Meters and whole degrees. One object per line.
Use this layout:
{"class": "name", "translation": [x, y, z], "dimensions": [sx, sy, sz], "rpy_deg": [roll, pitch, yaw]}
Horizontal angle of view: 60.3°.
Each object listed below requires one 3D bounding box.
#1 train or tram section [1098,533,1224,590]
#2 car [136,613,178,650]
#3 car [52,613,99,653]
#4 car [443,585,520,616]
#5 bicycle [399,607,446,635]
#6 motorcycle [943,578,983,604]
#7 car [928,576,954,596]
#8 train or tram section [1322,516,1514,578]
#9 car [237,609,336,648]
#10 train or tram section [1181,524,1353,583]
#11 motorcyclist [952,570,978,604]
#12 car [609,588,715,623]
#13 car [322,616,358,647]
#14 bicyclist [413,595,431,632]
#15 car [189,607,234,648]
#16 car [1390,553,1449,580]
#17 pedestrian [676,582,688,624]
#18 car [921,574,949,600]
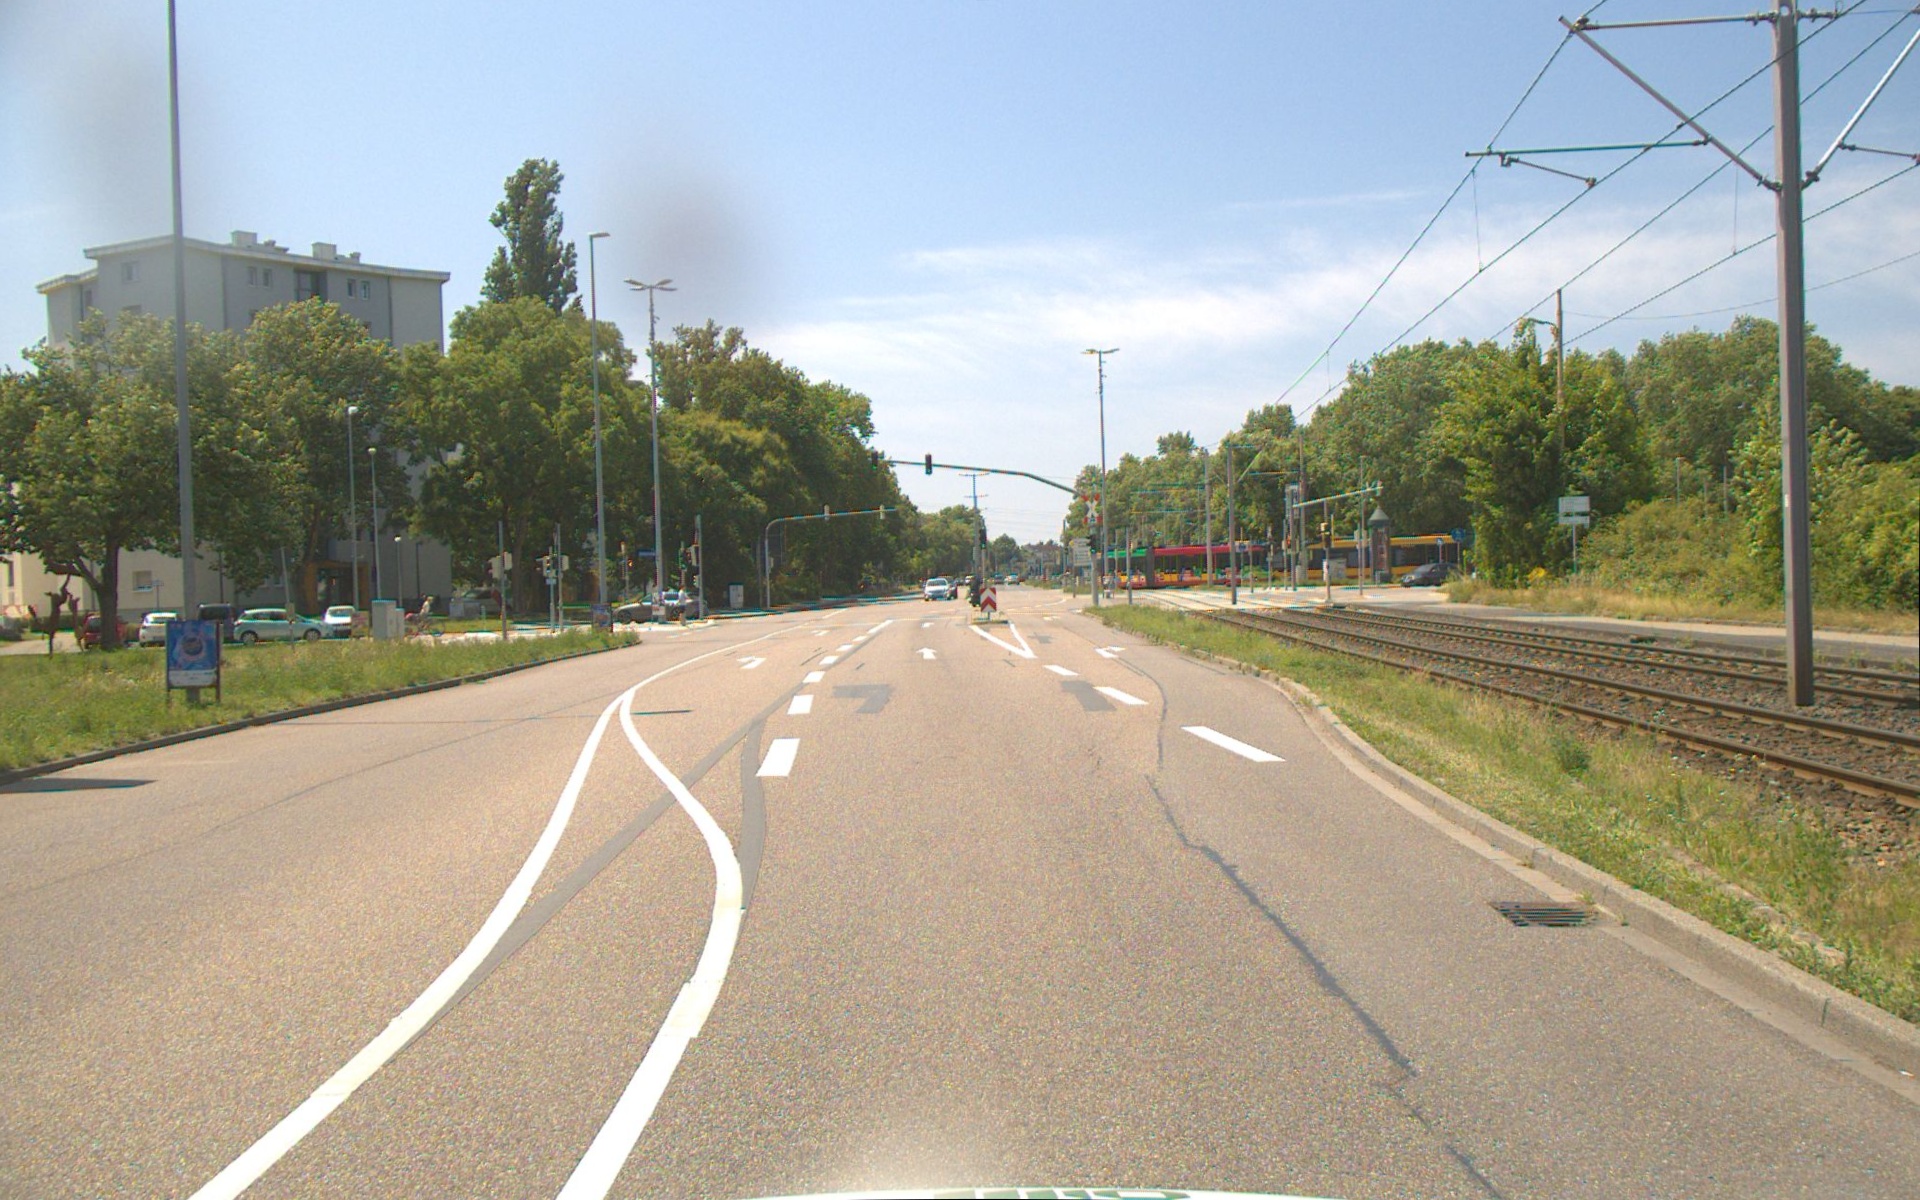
{"class": "train or tram section", "translation": [16.599, -3.122, 137.936], "dimensions": [2.886, 3.879, 12.927], "rpy_deg": [1, -3, -32]}
{"class": "car", "translation": [-37.784, 1.440, 77.858], "dimensions": [1.683, 1.620, 3.968], "rpy_deg": [-1, 1, -25]}
{"class": "car", "translation": [-41.041, 1.497, 76.750], "dimensions": [1.826, 1.697, 3.962], "rpy_deg": [-2, 1, -29]}
{"class": "car", "translation": [-30.779, 0.035, 106.429], "dimensions": [1.759, 1.798, 4.524], "rpy_deg": [-2, 1, 41]}
{"class": "bicycle", "translation": [-22.807, 0.871, 70.235], "dimensions": [1.838, 1.112, 0.642], "rpy_deg": [-2, 1, -22]}
{"class": "motorcycle", "translation": [0.157, -0.451, 81.517], "dimensions": [0.832, 1.277, 2.443], "rpy_deg": [-1, 1, 32]}
{"class": "car", "translation": [-1.360, -1.022, 120.809], "dimensions": [1.675, 1.389, 3.866], "rpy_deg": [-2, 1, 1]}
{"class": "train or tram section", "translation": [34.524, -3.941, 124.890], "dimensions": [13.705, 3.988, 2.924], "rpy_deg": [-2, -2, 19]}
{"class": "car", "translation": [-28.709, 1.210, 70.543], "dimensions": [3.834, 1.494, 1.762], "rpy_deg": [-2, 1, -24]}
{"class": "train or tram section", "translation": [23.976, -3.539, 129.826], "dimensions": [13.172, 3.879, 2.915], "rpy_deg": [-2, -3, 33]}
{"class": "motorcyclist", "translation": [0.243, -0.630, 81.682], "dimensions": [0.775, 1.671, 1.208], "rpy_deg": [-1, 0, 32]}
{"class": "car", "translation": [-14.239, 0.259, 79.117], "dimensions": [4.516, 1.525, 1.914], "rpy_deg": [-2, 1, 12]}
{"class": "car", "translation": [-30.352, 1.510, 81.067], "dimensions": [1.600, 1.404, 3.976], "rpy_deg": [-1, 1, -20]}
{"class": "bicyclist", "translation": [-22.856, 0.571, 70.211], "dimensions": [0.654, 1.563, 0.627], "rpy_deg": [-2, 1, -21]}
{"class": "car", "translation": [-35.618, 1.282, 78.810], "dimensions": [1.680, 1.832, 3.975], "rpy_deg": [-1, 1, -21]}
{"class": "car", "translation": [28.710, -2.090, 103.310], "dimensions": [3.462, 1.488, 1.623], "rpy_deg": [-3, 1, -31]}
{"class": "pedestrian", "translation": [-11.536, 0.134, 68.663], "dimensions": [0.374, 1.716, 0.486], "rpy_deg": [-2, 1, -3]}
{"class": "car", "translation": [-1.713, -0.905, 113.419], "dimensions": [1.747, 1.657, 3.866], "rpy_deg": [-2, 1, 1]}
